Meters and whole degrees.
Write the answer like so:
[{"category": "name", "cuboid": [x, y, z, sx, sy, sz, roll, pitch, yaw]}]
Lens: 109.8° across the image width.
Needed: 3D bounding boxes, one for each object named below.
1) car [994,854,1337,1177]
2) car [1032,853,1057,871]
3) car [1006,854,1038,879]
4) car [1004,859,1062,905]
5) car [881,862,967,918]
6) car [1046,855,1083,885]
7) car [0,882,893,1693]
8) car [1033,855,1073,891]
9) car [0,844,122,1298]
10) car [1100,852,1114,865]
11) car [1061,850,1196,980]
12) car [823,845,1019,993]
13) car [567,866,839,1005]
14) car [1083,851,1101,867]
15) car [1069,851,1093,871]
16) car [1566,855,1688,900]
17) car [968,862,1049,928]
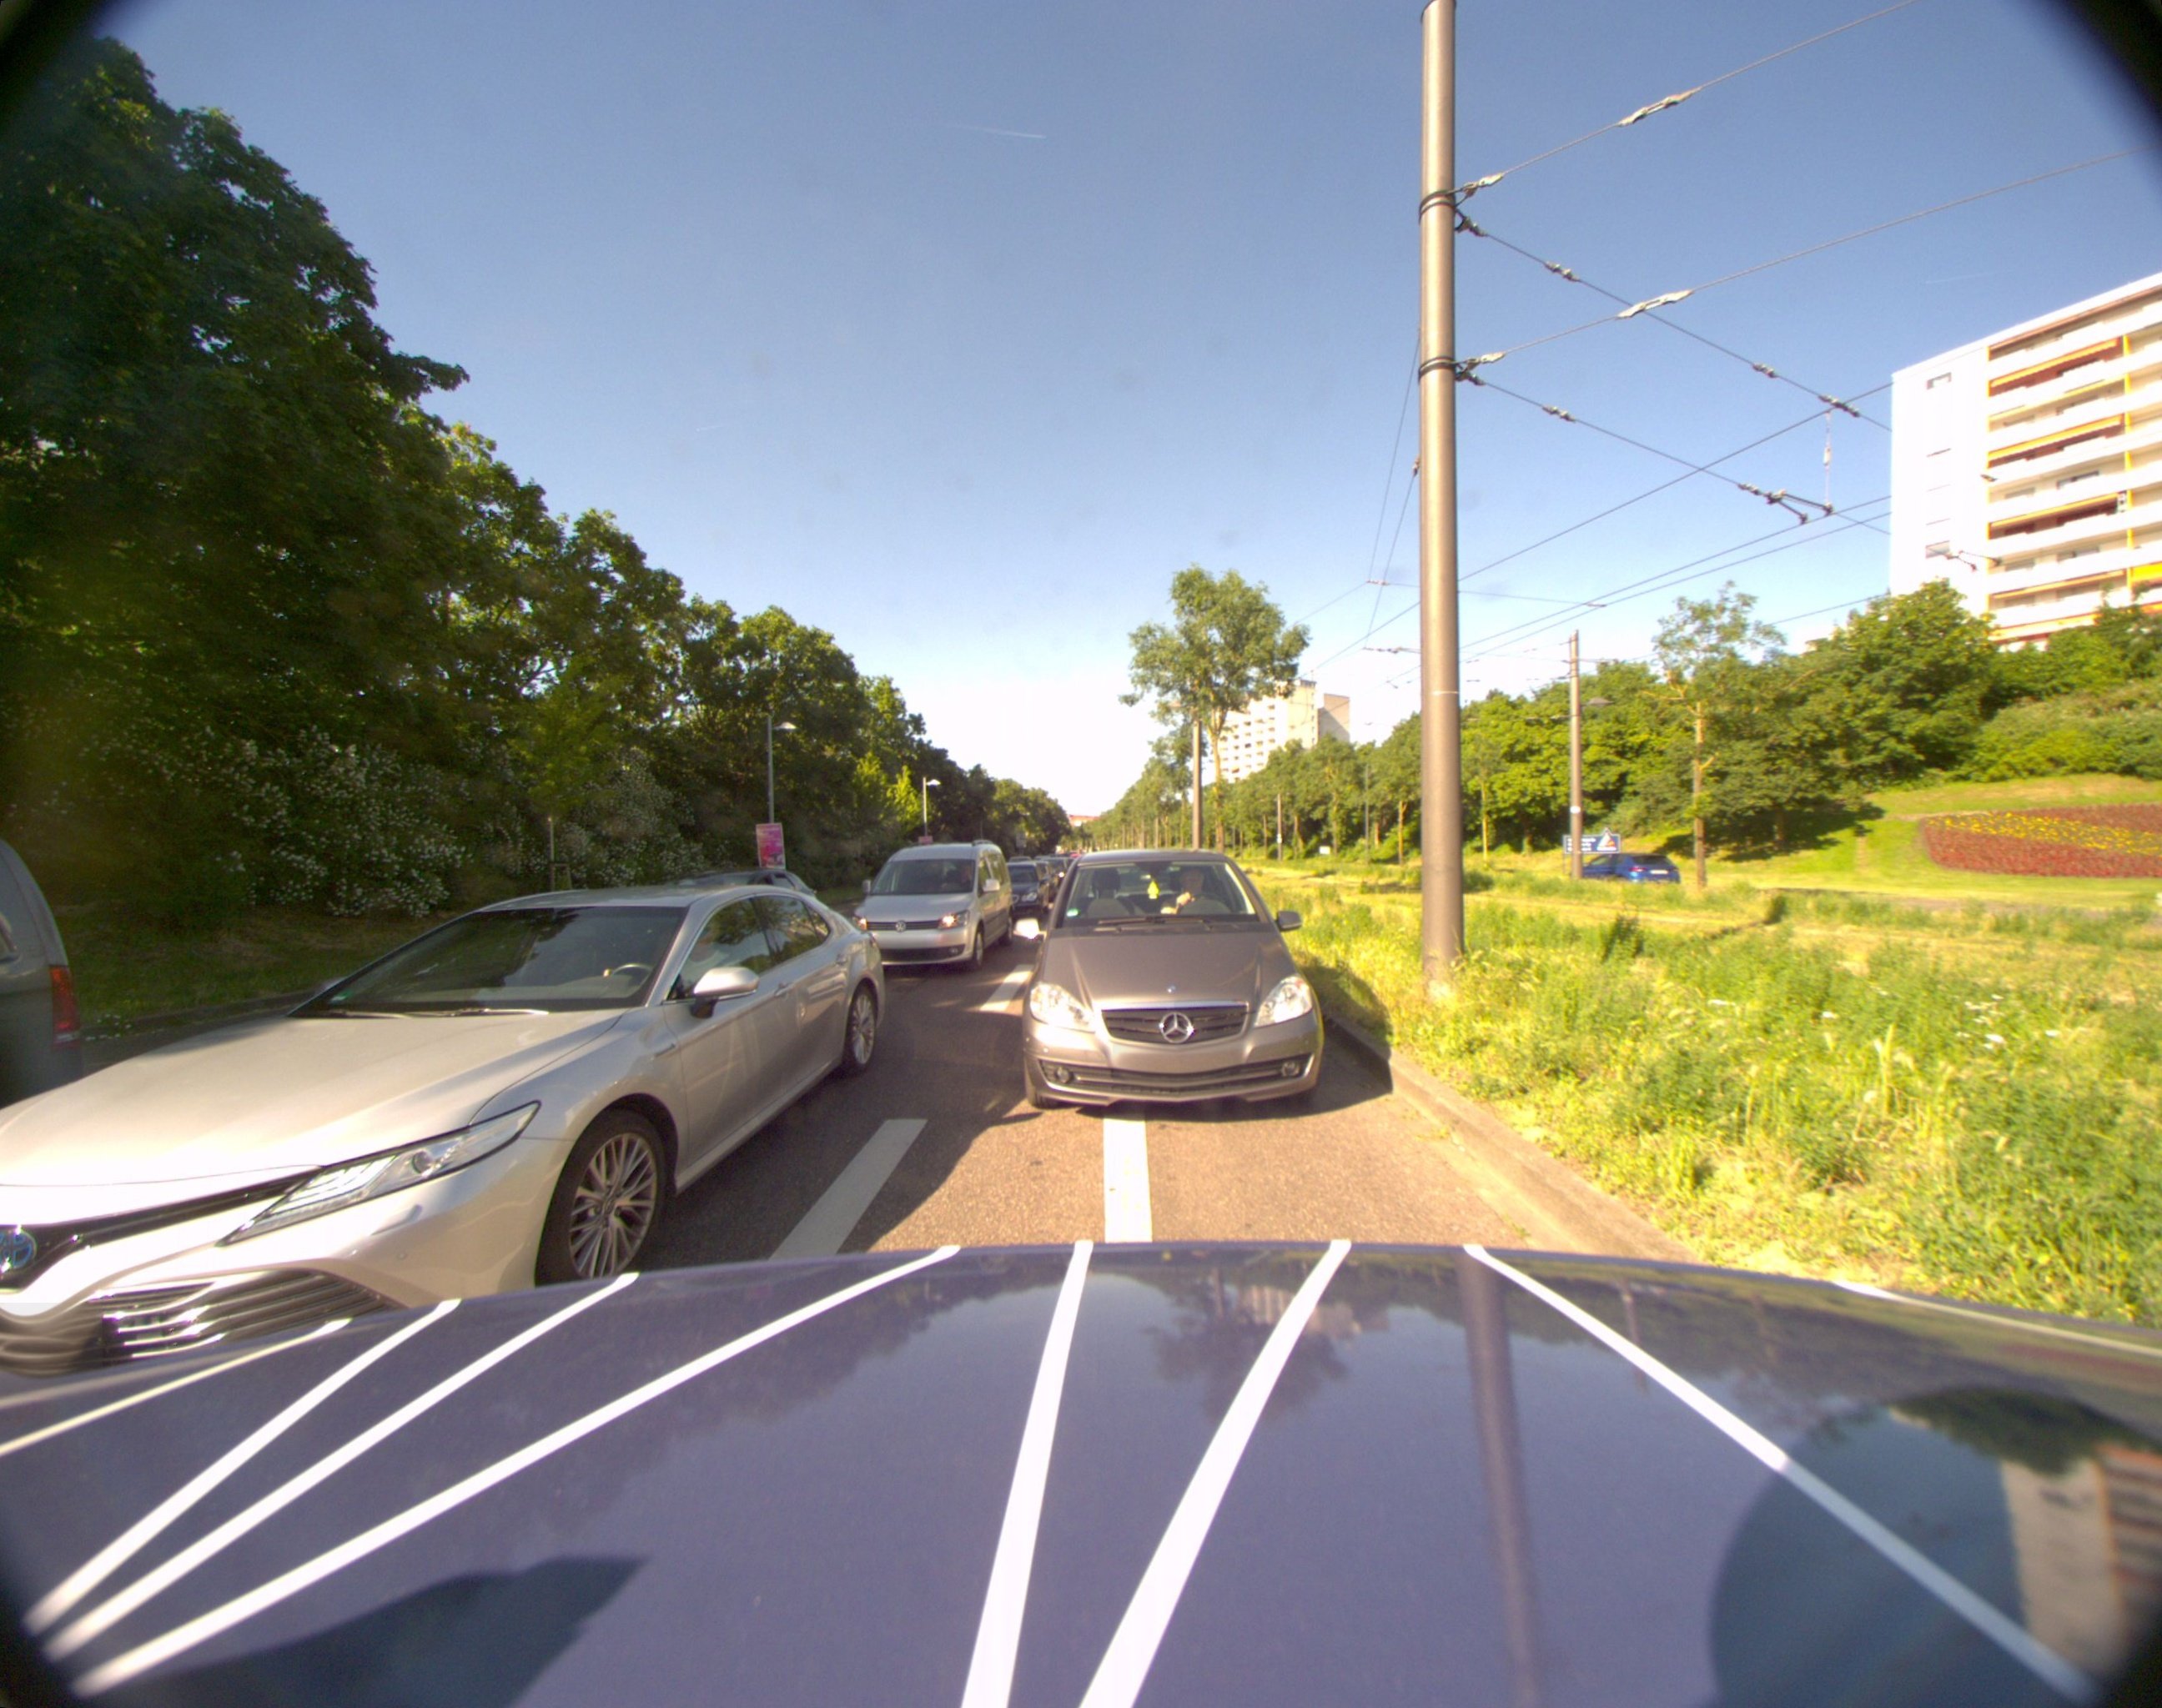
[{"category": "car", "cuboid": [0.473, 0.858, 6.011, 1.749, 1.630, 4.000, -2, 0, 1]}, {"category": "car", "cuboid": [-3.160, 0.675, 66.398, 1.749, 1.427, 4.386, -2, 1, 2]}, {"category": "car", "cuboid": [-3.947, 0.815, 51.202, 1.713, 1.485, 3.963, -2, 0, 1]}, {"category": "car", "cuboid": [-1.639, 0.944, 27.039, 1.723, 1.411, 4.050, -1, 0, 1]}, {"category": "car", "cuboid": [-4.845, 1.059, 23.993, 1.726, 1.508, 4.137, -2, 0, 1]}, {"category": "car", "cuboid": [-0.805, 0.798, 39.848, 1.713, 1.430, 4.171, -2, 0, 1]}, {"category": "car", "cuboid": [-2.549, 1.009, 3.919, 1.809, 1.484, 4.682, -2, 0, 2]}, {"category": "car", "cuboid": [-1.260, 0.844, 34.874, 1.621, 1.485, 3.452, -2, 1, 0]}, {"category": "car", "cuboid": [-5.393, 0.898, 0.934, 1.808, 1.841, 5.103, 0, 0, 3]}, {"category": "car", "cuboid": [3.562, 0.601, 104.068, 1.749, 1.652, 4.000, -1, 0, 1]}, {"category": "car", "cuboid": [0.666, 0.807, 12.166, 1.749, 1.652, 3.999, -2, 1, 1]}, {"category": "car", "cuboid": [-2.204, 0.800, 11.839, 1.808, 1.811, 4.587, -2, 1, 3]}, {"category": "car", "cuboid": [-5.265, 1.029, 11.336, 1.772, 1.499, 4.225, -2, 1, 2]}, {"category": "car", "cuboid": [1.081, 0.489, 74.154, 1.685, 1.437, 3.727, -2, 1, 2]}, {"category": "car", "cuboid": [0.031, 0.523, 58.294, 1.685, 1.437, 3.727, -2, 1, 2]}, {"category": "car", "cuboid": [19.199, 0.783, 26.925, 1.578, 1.412, 3.909, -1, 0, 1]}, {"category": "car", "cuboid": [-1.748, 0.970, 19.559, 1.717, 1.445, 4.197, -1, 0, -1]}]
